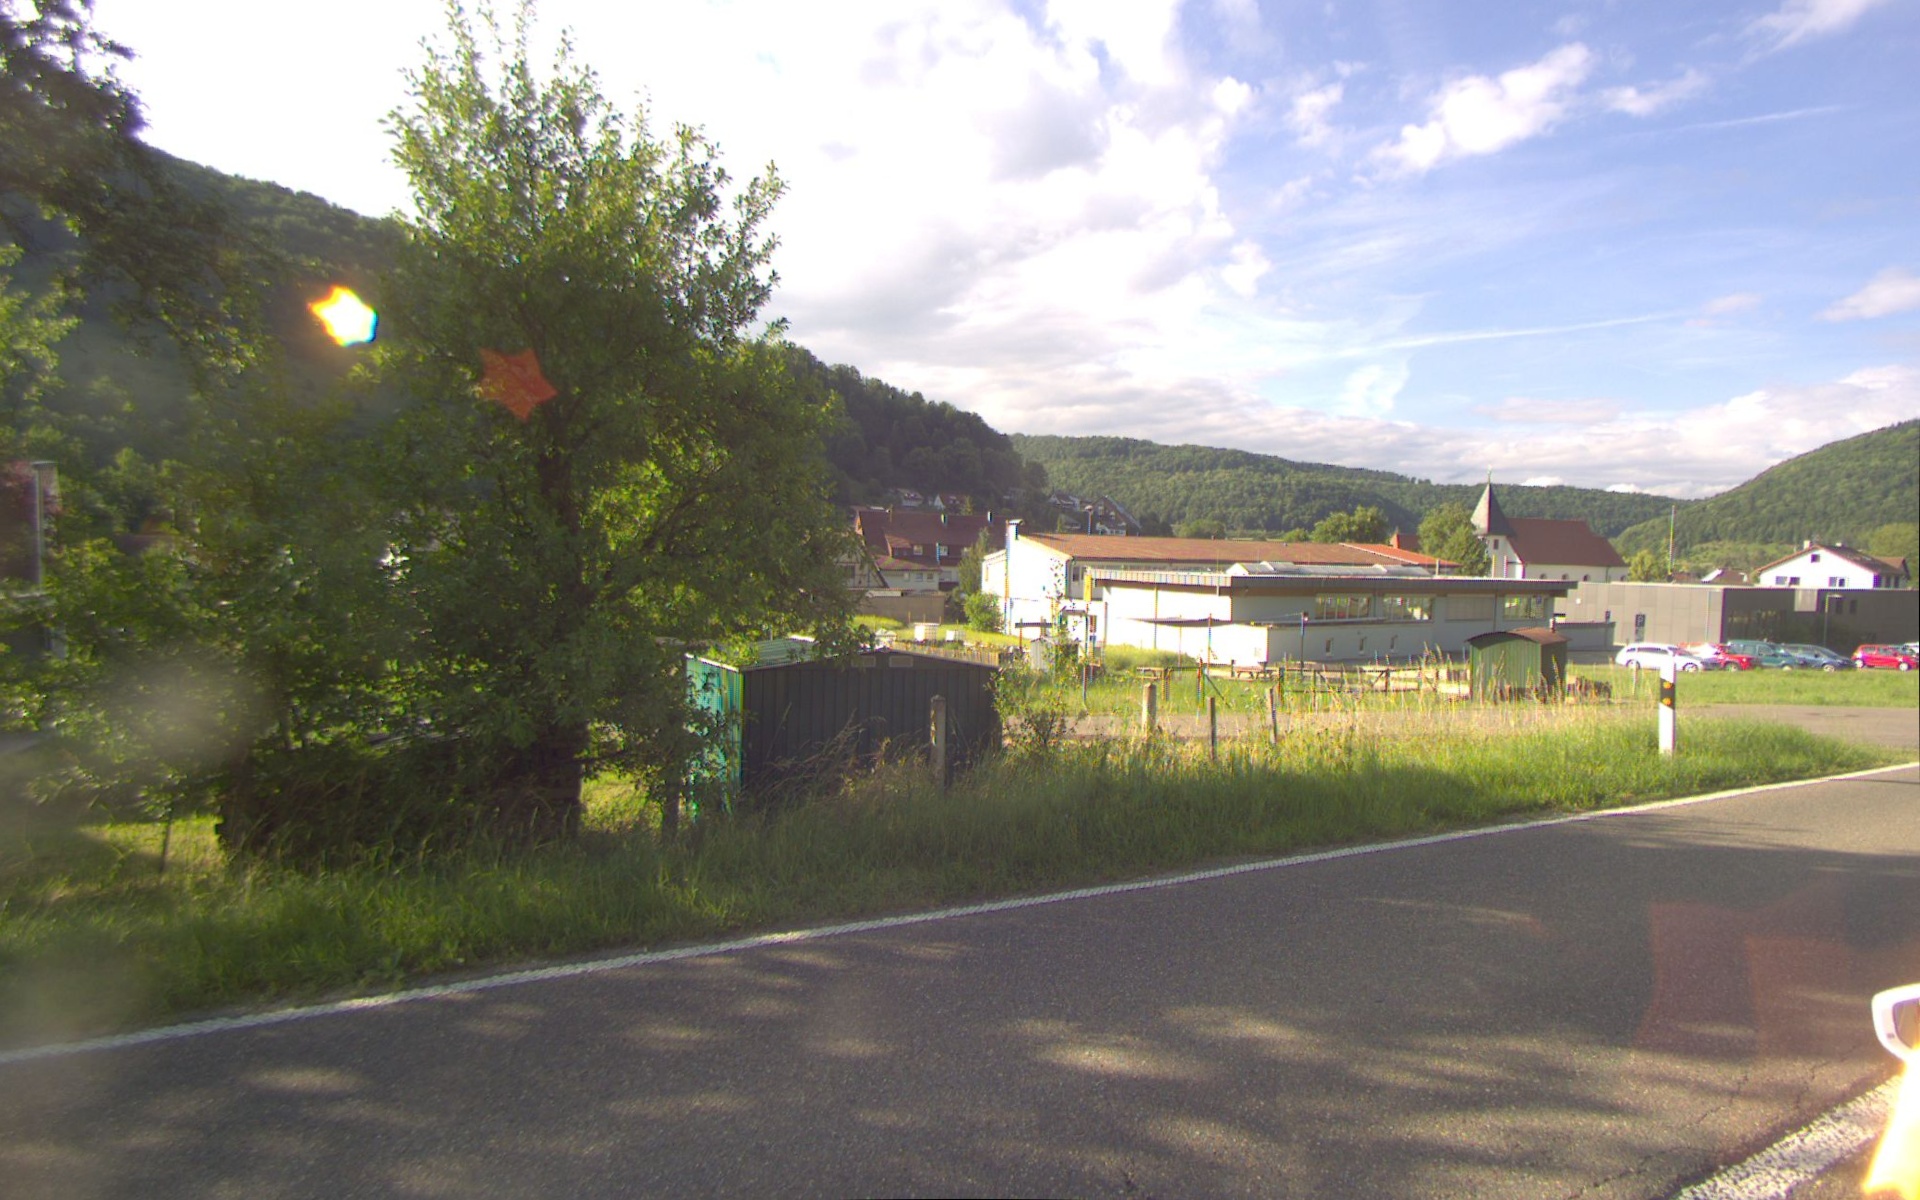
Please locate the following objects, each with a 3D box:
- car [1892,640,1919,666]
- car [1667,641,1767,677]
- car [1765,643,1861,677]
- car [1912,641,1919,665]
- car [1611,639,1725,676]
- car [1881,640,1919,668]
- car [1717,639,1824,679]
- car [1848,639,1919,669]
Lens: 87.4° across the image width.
[{"bbox_3d":[67.048,3.730,69.037,1.978,1.733,3.965,2,0,-32],"label":"car"},{"bbox_3d":[41.905,3.246,55.695,1.978,1.733,3.965,2,0,-32],"label":"car"},{"bbox_3d":[51.058,3.574,60.184,1.978,1.733,3.965,2,0,-32],"label":"car"},{"bbox_3d":[69.892,3.833,70.596,1.978,1.733,3.965,2,0,-32],"label":"car"},{"bbox_3d":[38.803,3.142,55.172,1.978,1.733,4.705,2,0,-31],"label":"car"},{"bbox_3d":[64.166,3.621,66.785,1.978,1.733,3.965,2,0,-32],"label":"car"},{"bbox_3d":[47.002,3.360,58.336,1.978,2.034,4.383,2,0,-31],"label":"car"},{"bbox_3d":[60.151,3.477,64.763,1.978,1.733,3.965,2,0,-32],"label":"car"}]
